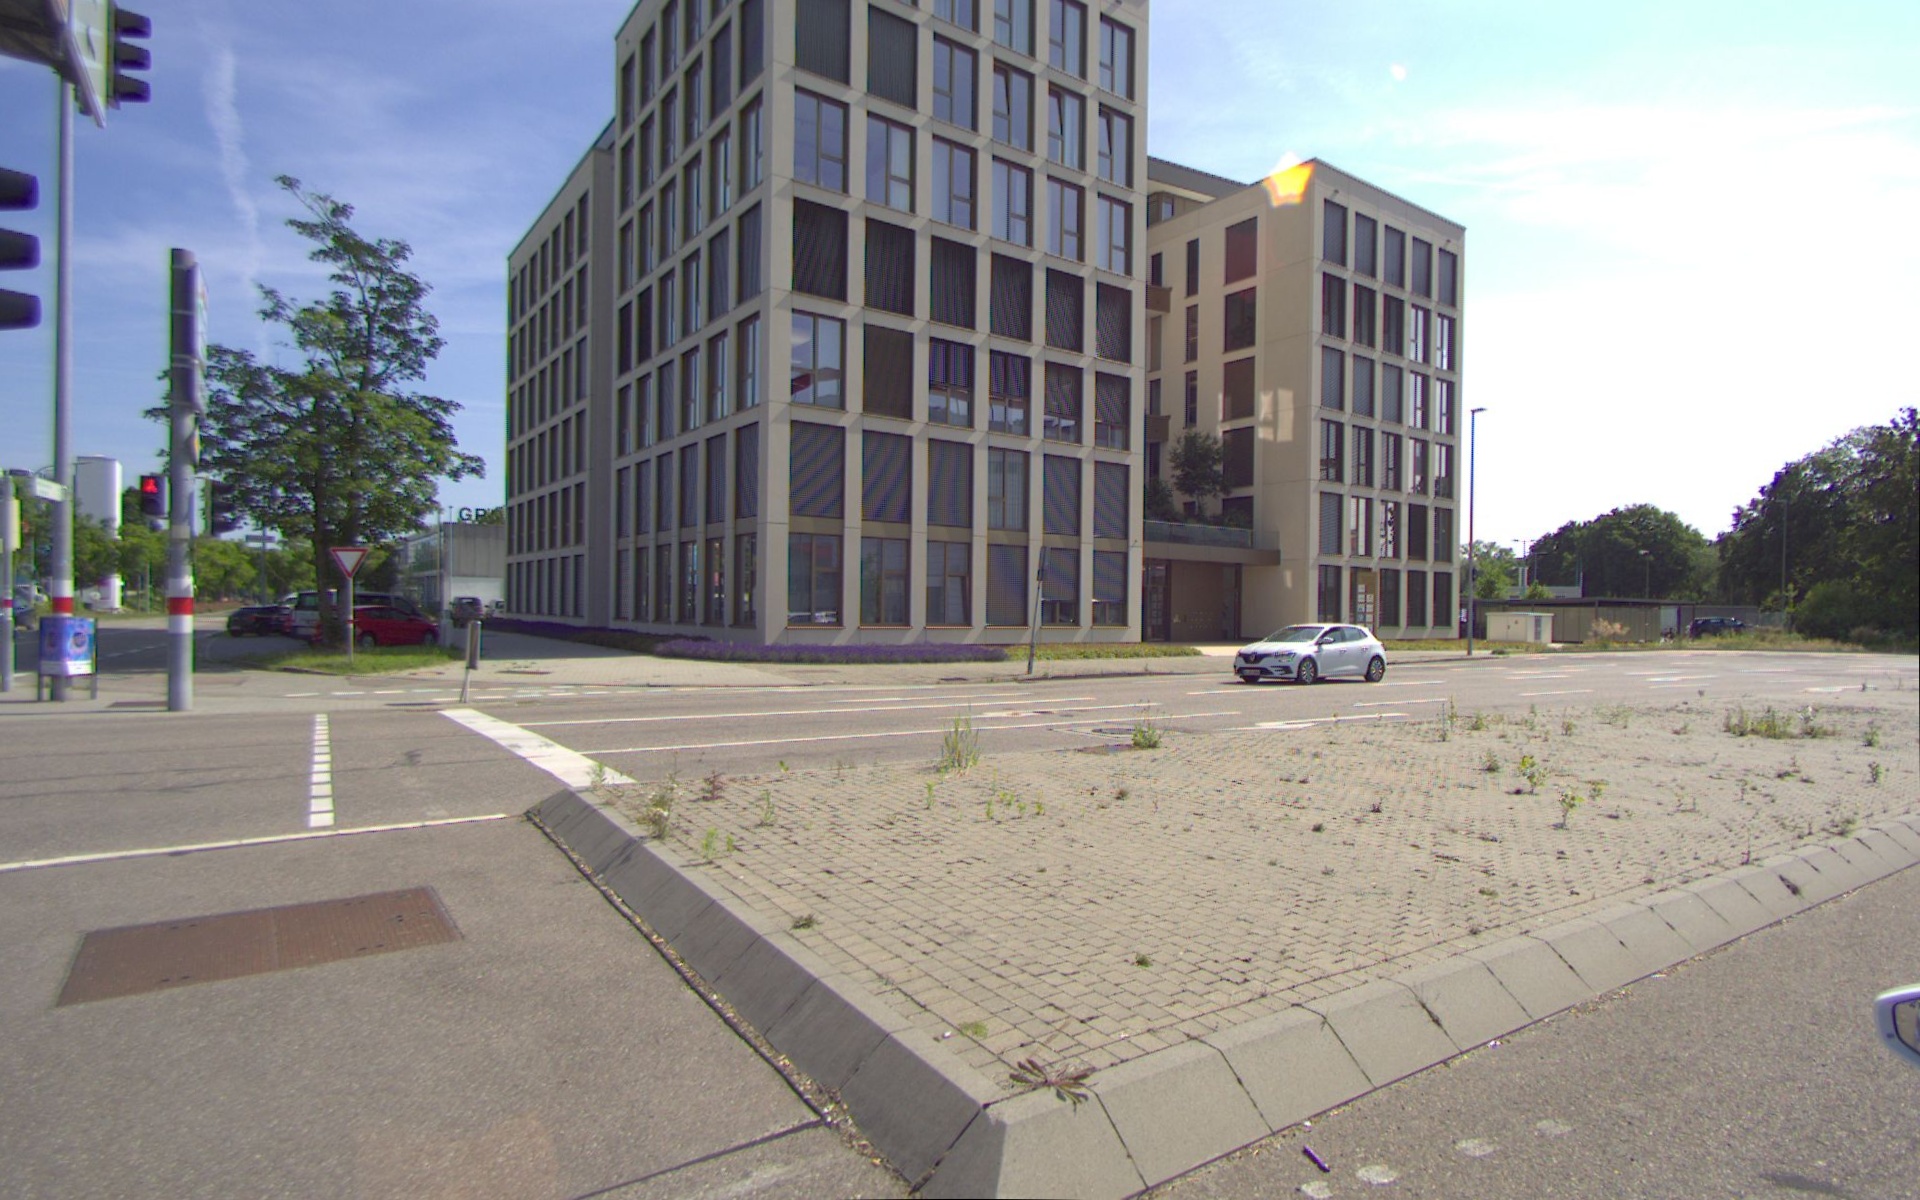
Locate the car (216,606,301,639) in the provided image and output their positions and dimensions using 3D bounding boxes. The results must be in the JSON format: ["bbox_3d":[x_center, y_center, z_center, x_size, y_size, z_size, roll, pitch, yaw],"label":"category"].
[{"bbox_3d":[-32.460,1.023,46.576,1.640,1.434,3.613,1,0,-5],"label":"car"}]

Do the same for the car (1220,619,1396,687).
[{"bbox_3d":[8.479,1.269,24.347,4.287,1.480,1.771,2,-1,-33],"label":"car"}]

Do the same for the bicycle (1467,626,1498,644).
[{"bbox_3d":[34.280,2.273,65.924,0.582,1.106,1.692,1,0,-34],"label":"bicycle"}]

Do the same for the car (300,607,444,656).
[{"bbox_3d":[-18.955,0.970,32.605,1.771,1.434,4.032,1,0,12],"label":"car"}]

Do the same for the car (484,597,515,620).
[{"bbox_3d":[-36.112,0.641,78.790,1.682,1.706,3.930,1,0,-32],"label":"car"}]

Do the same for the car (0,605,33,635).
[{"bbox_3d":[-43.857,0.902,45.753,1.641,1.307,3.772,2,-1,-31],"label":"car"}]

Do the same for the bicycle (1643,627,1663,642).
[{"bbox_3d":[49.602,2.467,71.867,1.689,1.106,0.583,1,0,-32],"label":"bicycle"}]

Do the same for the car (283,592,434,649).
[{"bbox_3d":[-21.127,0.688,35.552,1.859,1.846,4.817,1,0,10],"label":"car"}]

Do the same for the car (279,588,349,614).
[{"bbox_3d":[-65.709,0.111,102.323,5.840,2.464,2.355,2,-1,-32],"label":"car"}]

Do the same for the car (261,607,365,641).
[{"bbox_3d":[-29.532,1.062,46.015,1.686,1.434,4.002,1,0,11],"label":"car"}]

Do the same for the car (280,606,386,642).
[{"bbox_3d":[-27.342,1.008,43.948,1.655,1.500,4.002,1,0,11],"label":"car"}]

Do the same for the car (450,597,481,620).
[{"bbox_3d":[-37.977,0.635,77.135,1.730,1.706,3.965,1,0,-32],"label":"car"}]

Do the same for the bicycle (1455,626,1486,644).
[{"bbox_3d":[33.028,2.241,64.972,0.582,1.106,1.692,1,0,-34],"label":"bicycle"}]

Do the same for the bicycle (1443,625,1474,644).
[{"bbox_3d":[31.805,2.198,64.131,0.582,1.106,1.692,1,0,-34],"label":"bicycle"}]

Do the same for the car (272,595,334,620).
[{"bbox_3d":[-54.272,0.661,82.961,4.198,1.966,1.880,2,-1,-36],"label":"car"}]

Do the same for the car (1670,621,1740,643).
[{"bbox_3d":[54.993,2.339,74.236,4.045,1.439,1.723,1,-1,36],"label":"car"}]
